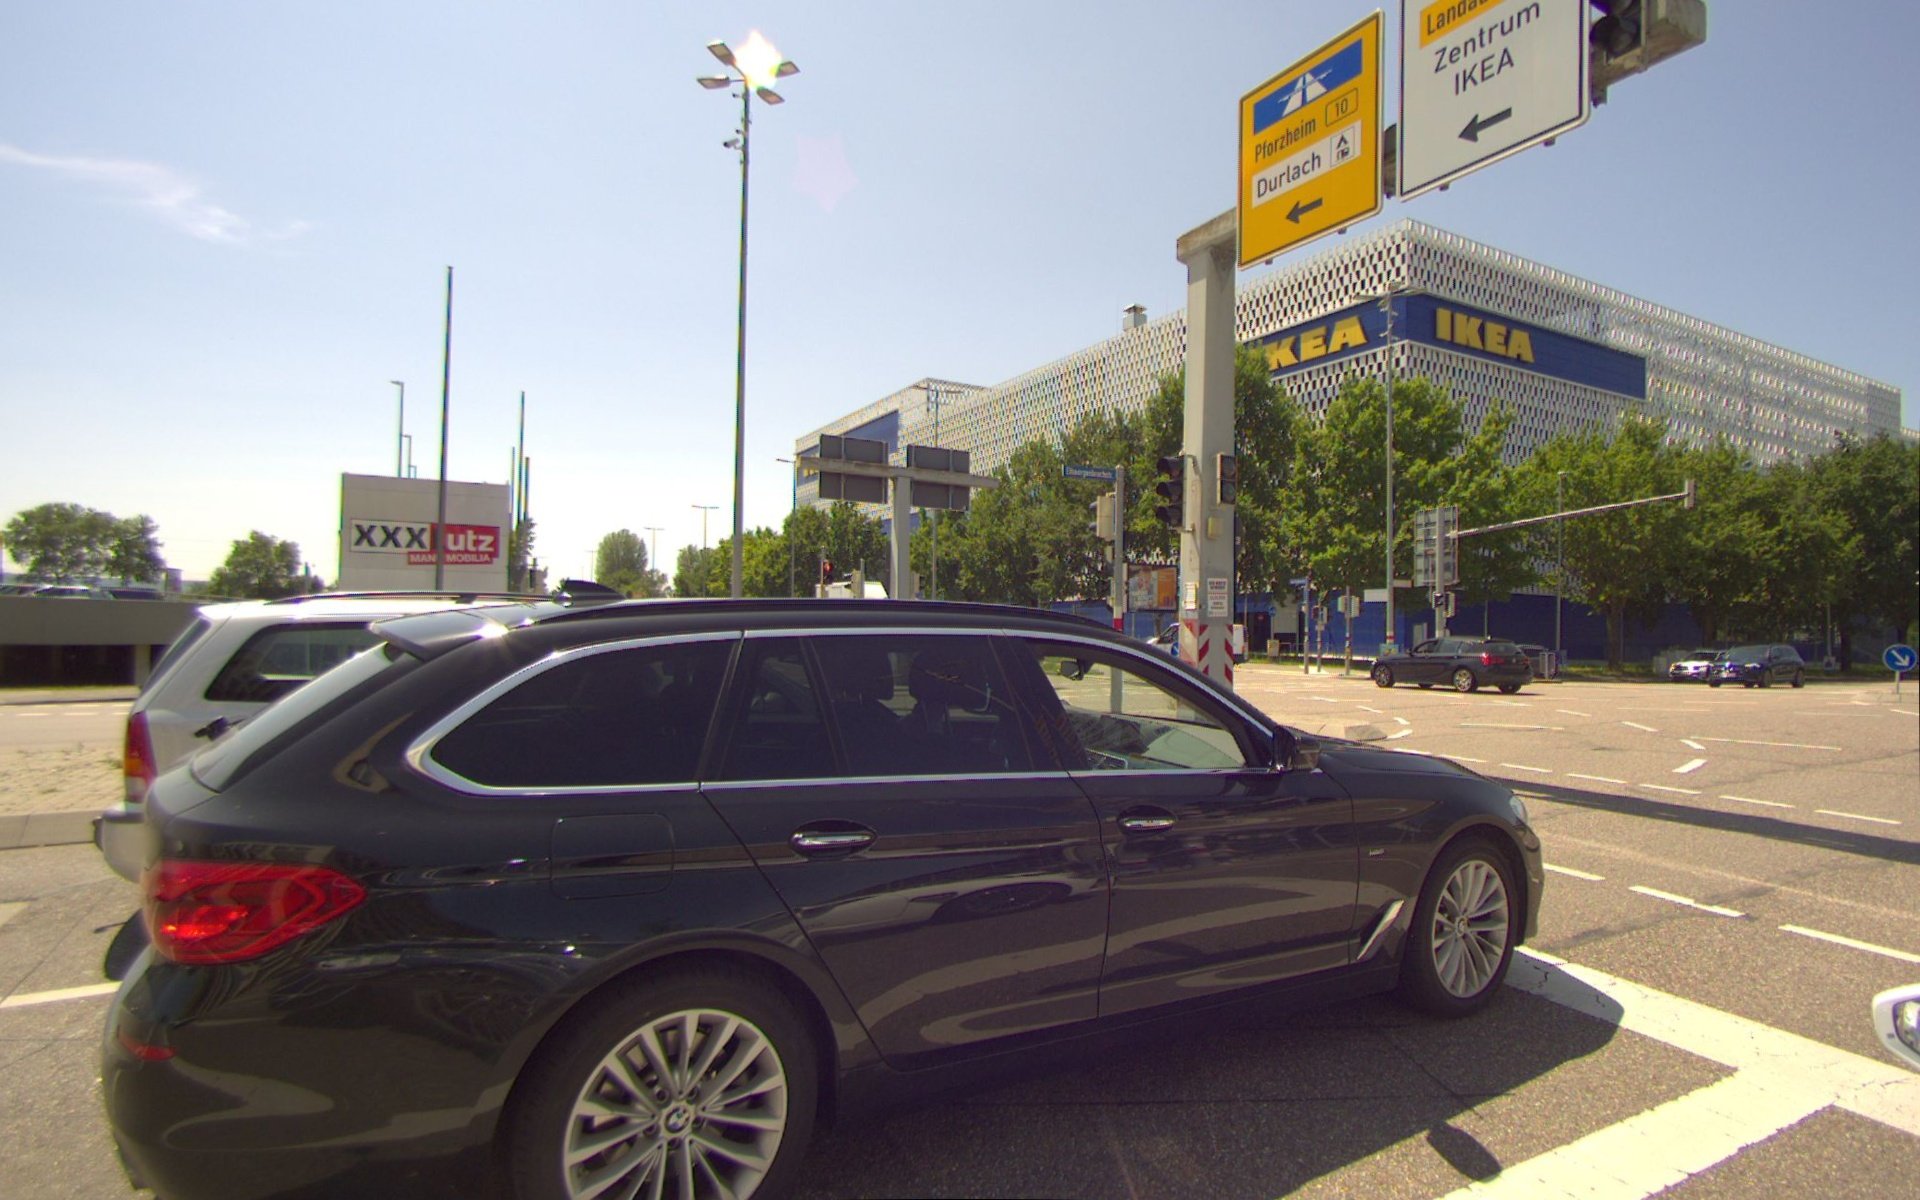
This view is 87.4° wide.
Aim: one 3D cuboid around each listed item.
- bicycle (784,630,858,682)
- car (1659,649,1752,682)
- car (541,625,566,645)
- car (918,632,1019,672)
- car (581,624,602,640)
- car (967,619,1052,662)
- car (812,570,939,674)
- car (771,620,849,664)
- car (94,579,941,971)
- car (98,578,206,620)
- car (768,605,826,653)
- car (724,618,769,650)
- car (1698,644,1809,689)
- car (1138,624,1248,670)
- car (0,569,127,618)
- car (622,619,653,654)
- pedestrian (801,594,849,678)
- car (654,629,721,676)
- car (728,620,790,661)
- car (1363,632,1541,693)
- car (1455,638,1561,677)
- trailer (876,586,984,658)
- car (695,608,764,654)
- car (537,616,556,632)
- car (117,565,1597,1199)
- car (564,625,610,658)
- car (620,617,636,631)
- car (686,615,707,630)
[{"bbox_3d":[-3.498,1.371,25.085,0.987,1.229,2.079,2,-2,-35],"label":"bicycle"},{"bbox_3d":[35.353,3.102,47.638,4.009,1.476,1.619,2,-2,-21],"label":"car"},{"bbox_3d":[-36.529,3.146,90.148,1.718,1.708,3.642,2,-2,-28],"label":"car"},{"bbox_3d":[0.235,1.859,36.653,1.756,1.360,4.262,1,-2,-30],"label":"car"},{"bbox_3d":[-46.553,4.039,126.859,1.906,2.040,3.971,2,-2,-28],"label":"car"},{"bbox_3d":[2.151,1.898,45.480,1.972,1.608,4.671,2,-7,-24],"label":"car"},{"bbox_3d":[-3.324,0.814,37.468,2.156,3.532,6.875,0,-1,-28],"label":"car"},{"bbox_3d":[-6.797,1.854,45.006,1.973,1.835,5.438,1,-2,-25],"label":"car"},{"bbox_3d":[-2.245,0.732,5.791,3.961,1.514,1.785,2,-1,-36],"label":"car"},{"bbox_3d":[-40.292,-0.025,50.220,3.956,1.933,1.983,2,-2,-32],"label":"car"},{"bbox_3d":[-9.422,1.652,57.823,2.032,2.665,4.652,0,-2,-26],"label":"car"},{"bbox_3d":[-14.107,2.218,66.142,1.974,2.014,3.974,2,-3,-26],"label":"car"},{"bbox_3d":[30.230,2.518,38.250,4.444,1.619,1.866,2,-3,-30],"label":"car"},{"bbox_3d":[10.781,2.148,46.481,4.673,2.034,1.999,0,-2,23],"label":"car"},{"bbox_3d":[-39.200,-0.246,43.893,3.953,1.957,1.984,2,-2,-30],"label":"car"},{"bbox_3d":[-19.442,2.193,60.462,1.594,2.040,3.863,1,-2,-20],"label":"car"},{"bbox_3d":[-3.350,0.885,24.918,0.856,2.040,0.899,1,-2,-35],"label":"pedestrian"},{"bbox_3d":[-9.501,1.807,34.864,1.904,1.528,3.982,1,-2,-20],"label":"car"},{"bbox_3d":[-10.637,2.124,52.978,1.975,2.040,4.681,2,-2,-27],"label":"car"},{"bbox_3d":[12.806,1.593,26.454,1.648,1.429,4.215,2,-2,-22],"label":"car"},{"bbox_3d":[23.693,2.478,43.510,3.681,1.554,1.775,0,1,-2],"label":"car"},{"bbox_3d":[-2.077,1.464,62.783,3.054,4.135,9.581,2,-3,-26],"label":"trailer"},{"bbox_3d":[-13.864,1.862,60.019,2.542,2.568,6.587,2,-2,-26],"label":"car"},{"bbox_3d":[-71.257,4.100,173.077,2.877,2.724,6.126,2,-2,-24],"label":"car"},{"bbox_3d":[0.134,0.737,3.599,4.570,1.485,1.791,1,-1,-31],"label":"car"},{"bbox_3d":[-23.569,2.603,63.415,1.815,2.040,3.963,2,-2,-34],"label":"car"},{"bbox_3d":[-51.037,3.762,154.384,1.971,2.040,3.979,2,-2,-22],"label":"car"},{"bbox_3d":[-36.422,3.089,139.021,1.974,2.040,3.972,2,-1,-27],"label":"car"}]
